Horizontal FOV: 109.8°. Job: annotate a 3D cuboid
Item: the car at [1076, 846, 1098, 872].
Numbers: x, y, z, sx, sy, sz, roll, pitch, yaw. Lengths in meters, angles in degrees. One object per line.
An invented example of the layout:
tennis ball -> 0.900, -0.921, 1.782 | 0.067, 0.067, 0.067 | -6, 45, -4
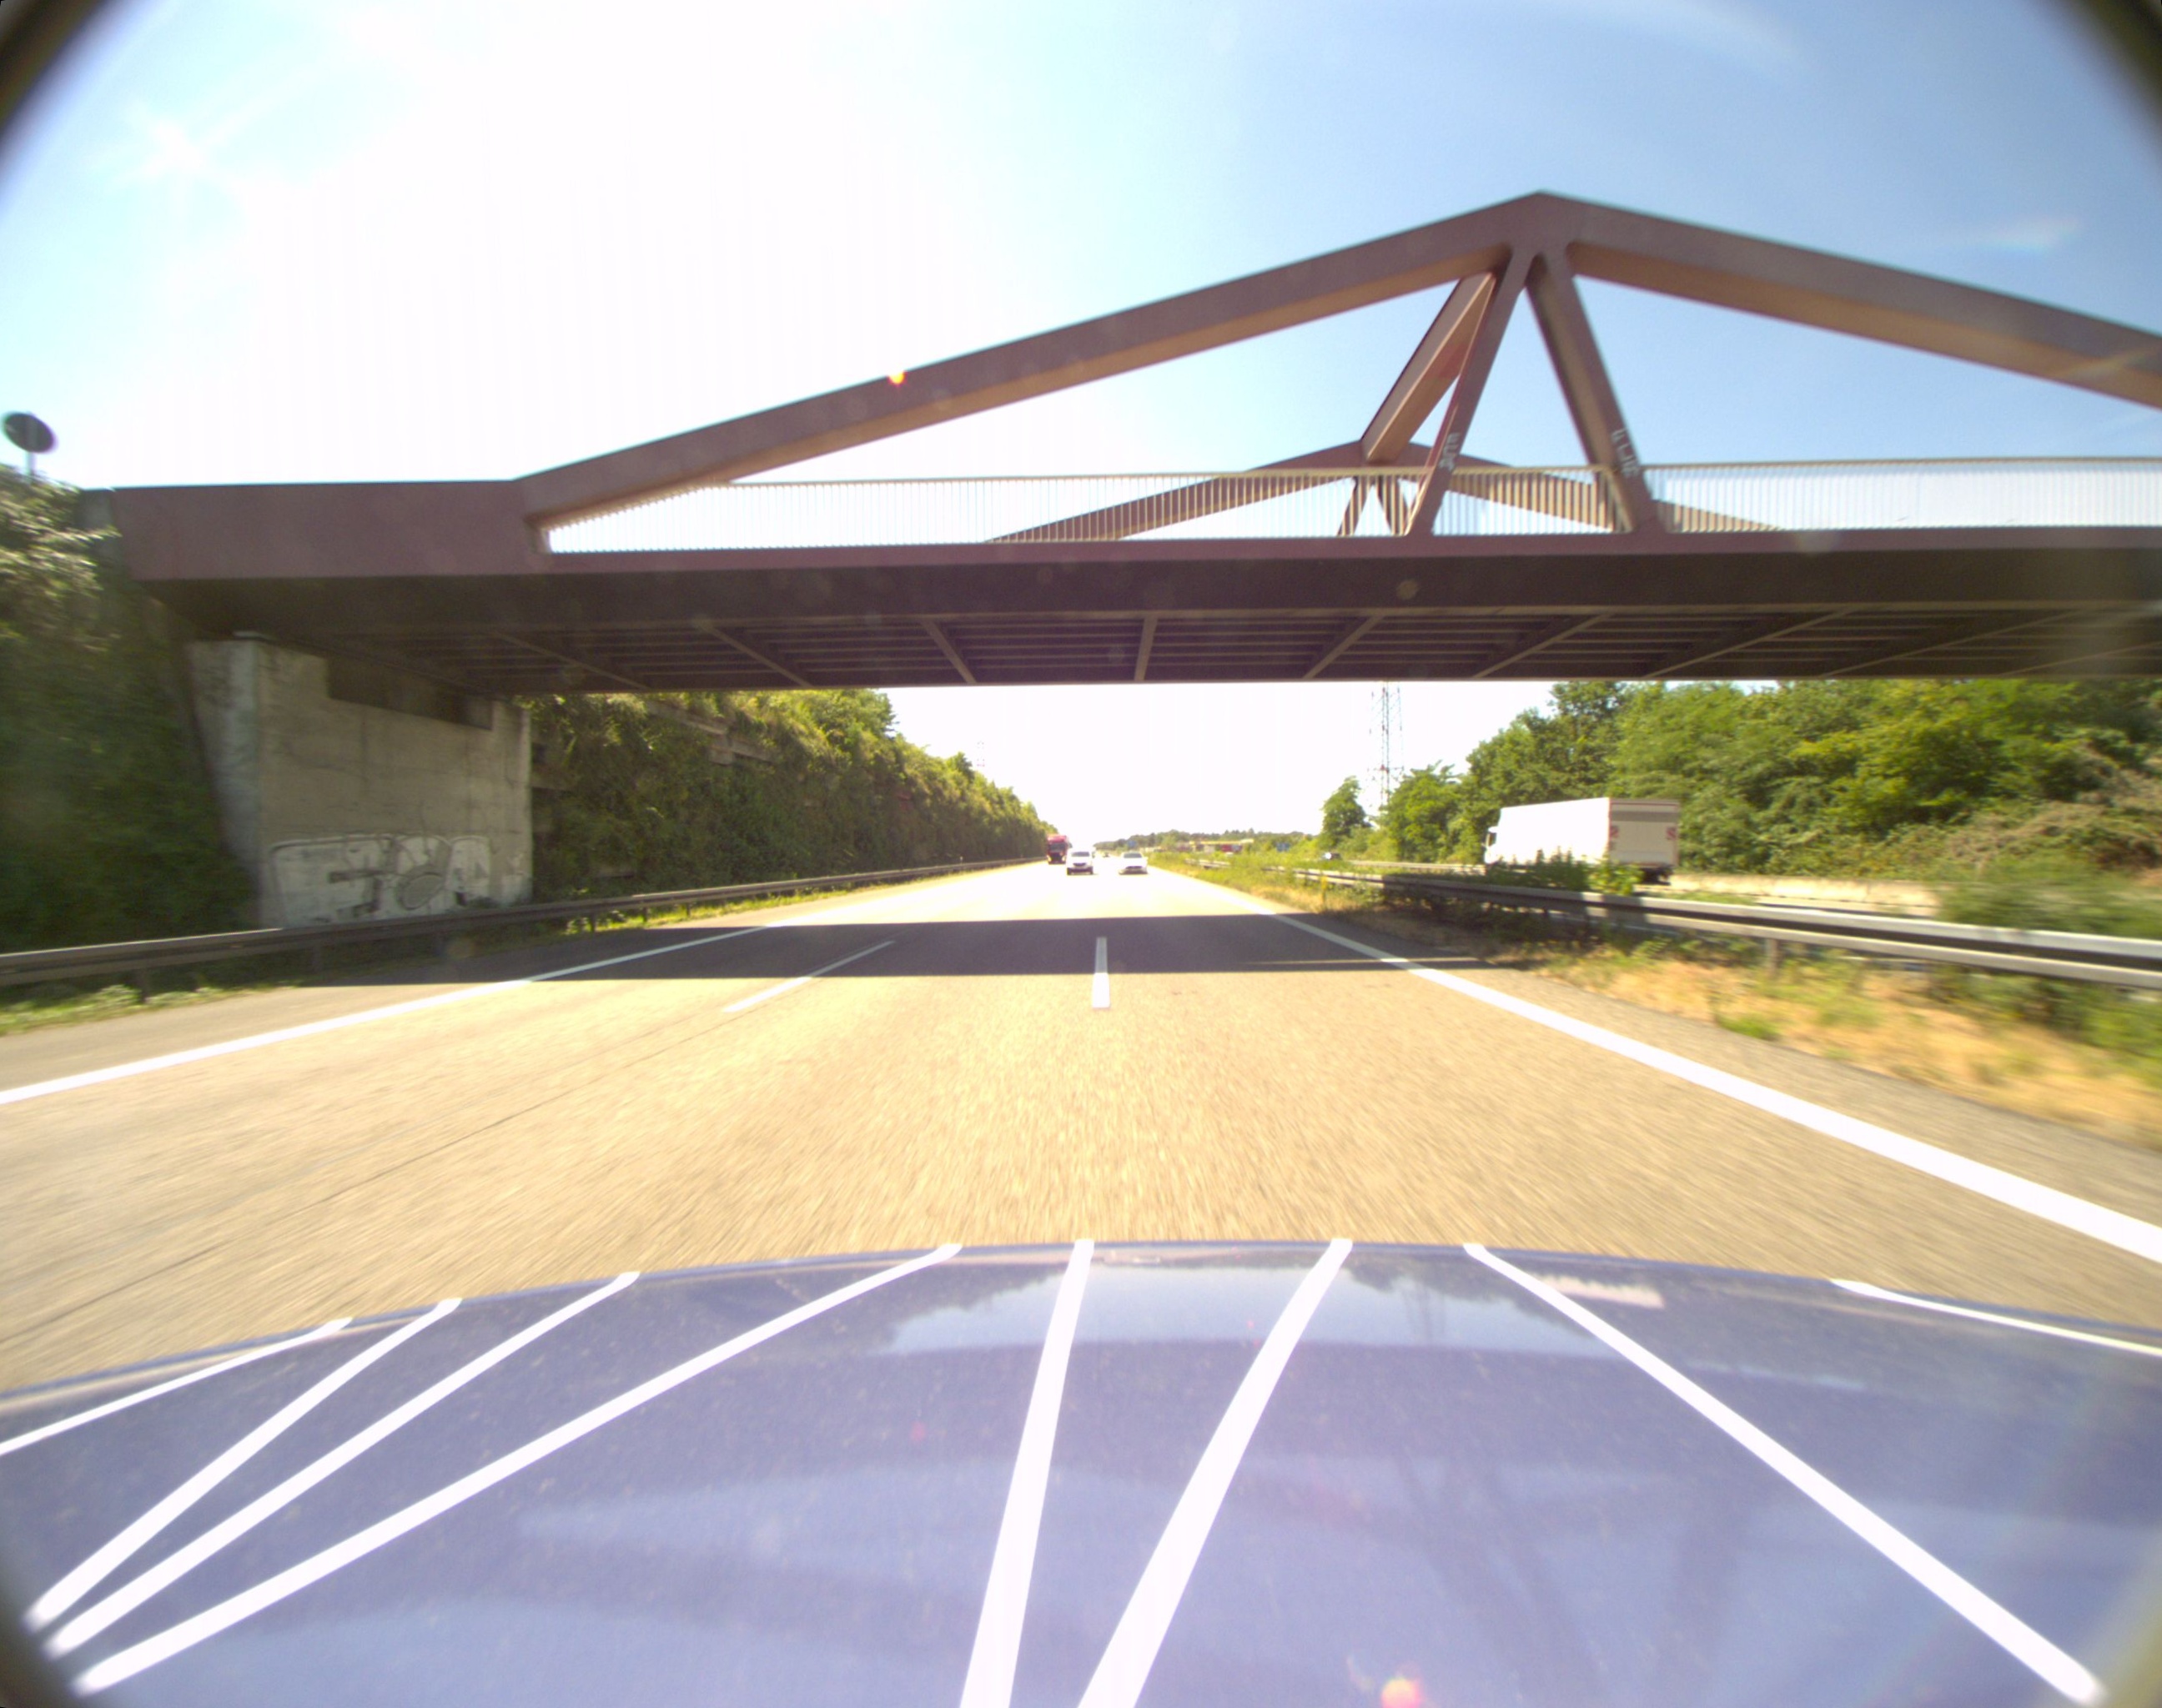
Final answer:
car -> 0.433, 0.366, 55.313 | 1.413, 1.795, 3.200 | -3, 0, 0

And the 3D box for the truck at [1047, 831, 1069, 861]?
truck -> -3.058, -1.031, 102.014 | 2.505, 3.897, 7.096 | -2, 0, 1

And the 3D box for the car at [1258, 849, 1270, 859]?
car -> 33.644, -0.017, 140.025 | 1.377, 1.604, 3.364 | -3, 0, 1

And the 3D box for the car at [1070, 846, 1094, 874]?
car -> 0.071, 0.372, 51.641 | 1.501, 1.799, 3.394 | -3, 0, 0

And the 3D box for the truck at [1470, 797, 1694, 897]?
truck -> 20.382, -0.286, 32.052 | 2.815, 3.516, 10.188 | 1, 0, 1

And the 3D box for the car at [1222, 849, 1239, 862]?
car -> 23.351, 0.231, 119.125 | 1.808, 1.826, 4.257 | -3, 0, 1

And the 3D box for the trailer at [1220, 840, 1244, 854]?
trailer -> 49.464, -2.296, 248.895 | 3.123, 4.032, 11.334 | -2, 1, 35

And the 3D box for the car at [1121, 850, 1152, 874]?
car -> 3.585, 0.503, 49.583 | 1.775, 1.410, 3.401 | -3, 0, 1

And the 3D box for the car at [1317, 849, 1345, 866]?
car -> 27.344, 0.381, 83.300 | 1.704, 1.758, 4.403 | -3, 0, 3
